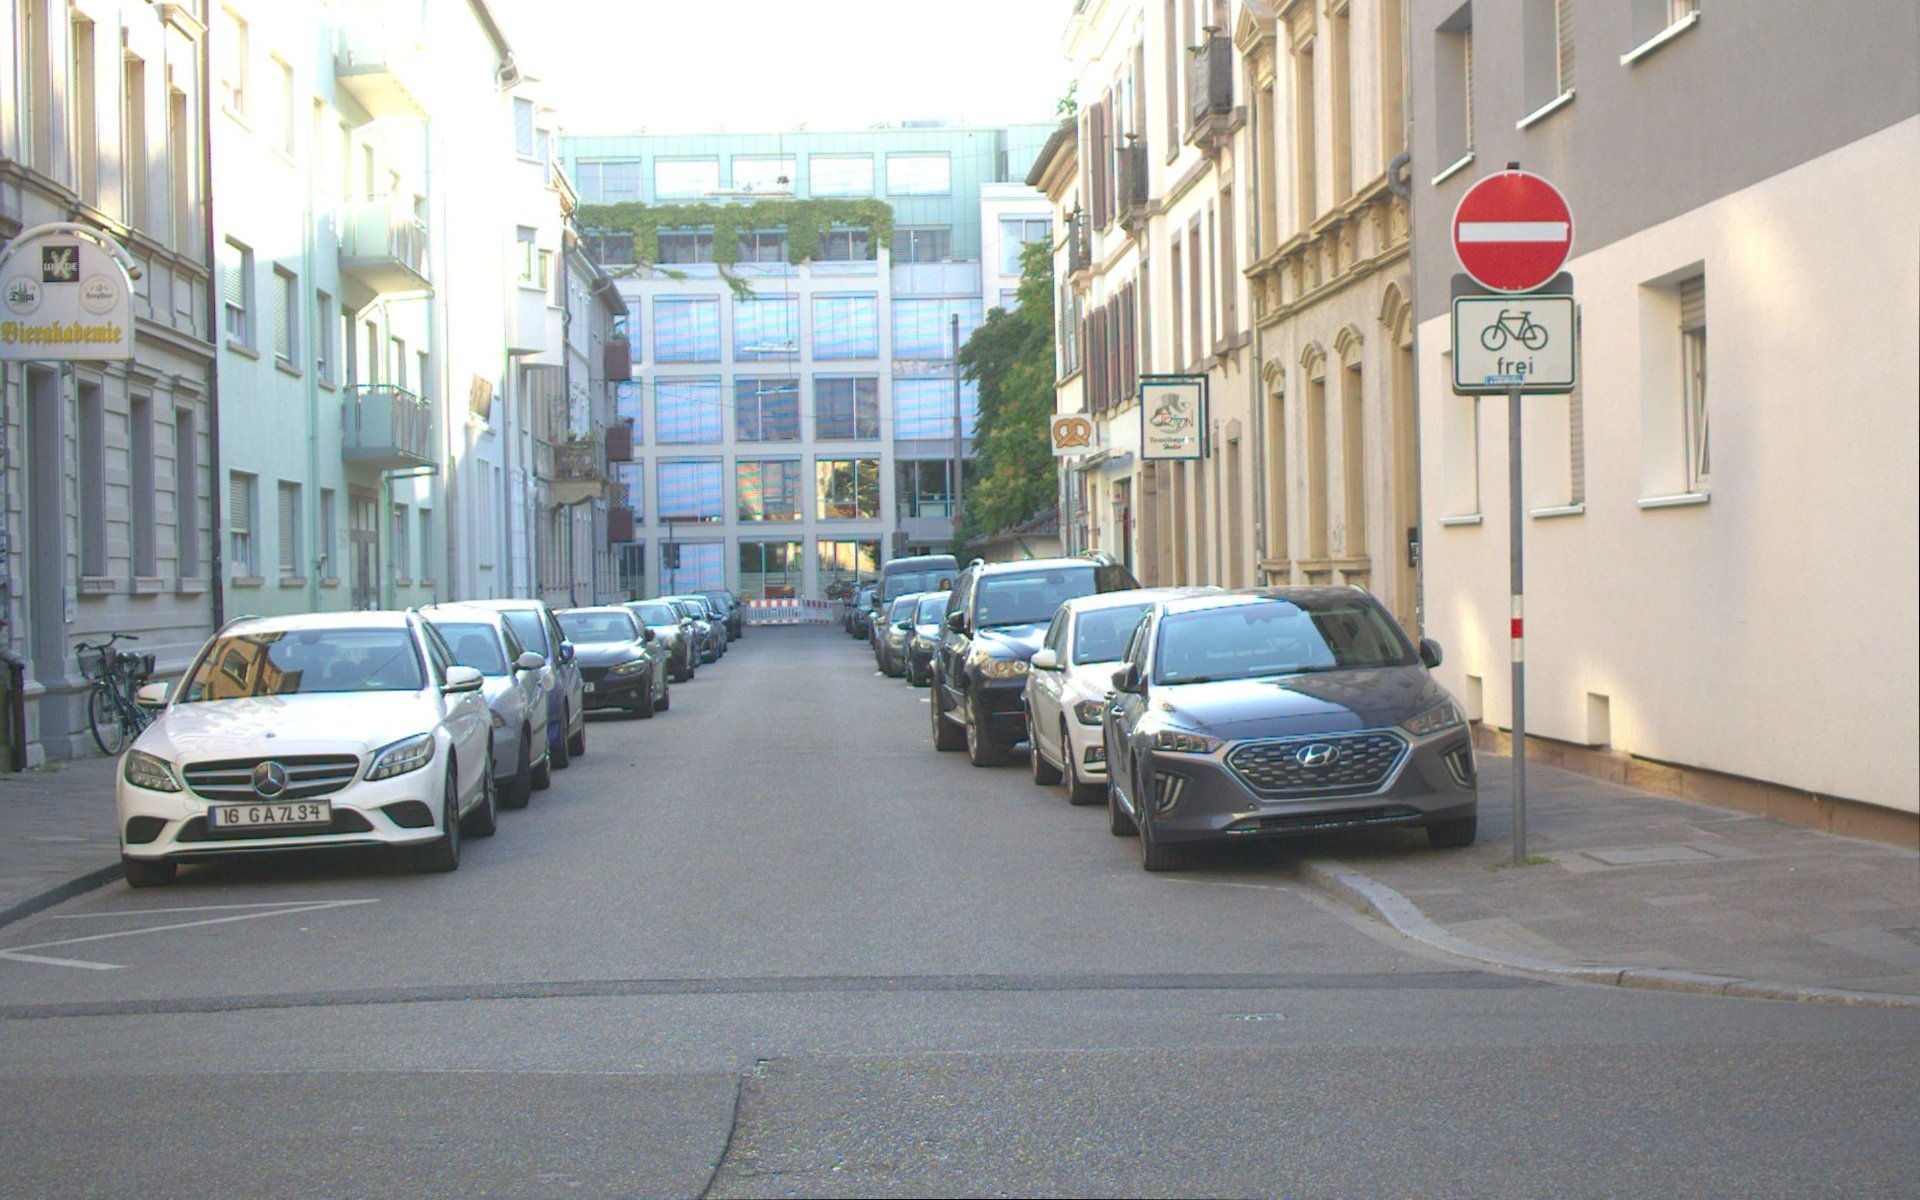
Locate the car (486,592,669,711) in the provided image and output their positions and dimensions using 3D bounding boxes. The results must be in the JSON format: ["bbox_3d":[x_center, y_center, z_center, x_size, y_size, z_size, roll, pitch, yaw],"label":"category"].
[{"bbox_3d":[-4.739,0.613,43.168,1.993,1.350,4.429,-1,1,-3],"label":"car"}]

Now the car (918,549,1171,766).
[{"bbox_3d":[0.681,0.460,30.652,1.893,1.778,4.001,-1,1,-3],"label":"car"}]

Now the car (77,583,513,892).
[{"bbox_3d":[-3.790,0.711,20.356,1.993,1.559,4.507,-1,1,-4],"label":"car"}]

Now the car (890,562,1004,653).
[{"bbox_3d":[-0.283,0.123,66.464,1.993,1.694,4.001,-1,1,-3],"label":"car"}]

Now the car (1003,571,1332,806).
[{"bbox_3d":[1.434,0.585,25.257,1.963,1.552,3.889,-1,1,-3],"label":"car"}]

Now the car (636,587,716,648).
[{"bbox_3d":[-6.399,0.386,77.810,1.707,1.298,4.001,-1,1,-3],"label":"car"}]

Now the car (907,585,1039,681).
[{"bbox_3d":[0.172,0.508,55.502,1.993,1.446,4.000,-1,1,-2],"label":"car"}]

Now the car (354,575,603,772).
[{"bbox_3d":[-4.335,0.617,31.459,1.785,1.653,3.817,-1,1,-1],"label":"car"}]

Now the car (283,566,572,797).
[{"bbox_3d":[-3.904,0.544,25.730,1.624,1.571,3.754,-1,1,-1],"label":"car"}]

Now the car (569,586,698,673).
[{"bbox_3d":[-5.732,0.494,60.721,2.172,1.413,4.001,-1,1,-5],"label":"car"}]

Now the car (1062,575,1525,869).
[{"bbox_3d":[1.738,0.600,19.193,1.938,1.367,3.789,-3,1,-4],"label":"car"}]

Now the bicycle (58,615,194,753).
[{"bbox_3d":[-7.578,0.741,31.337,0.737,1.157,2.461,-1,1,-3],"label":"bicycle"}]
